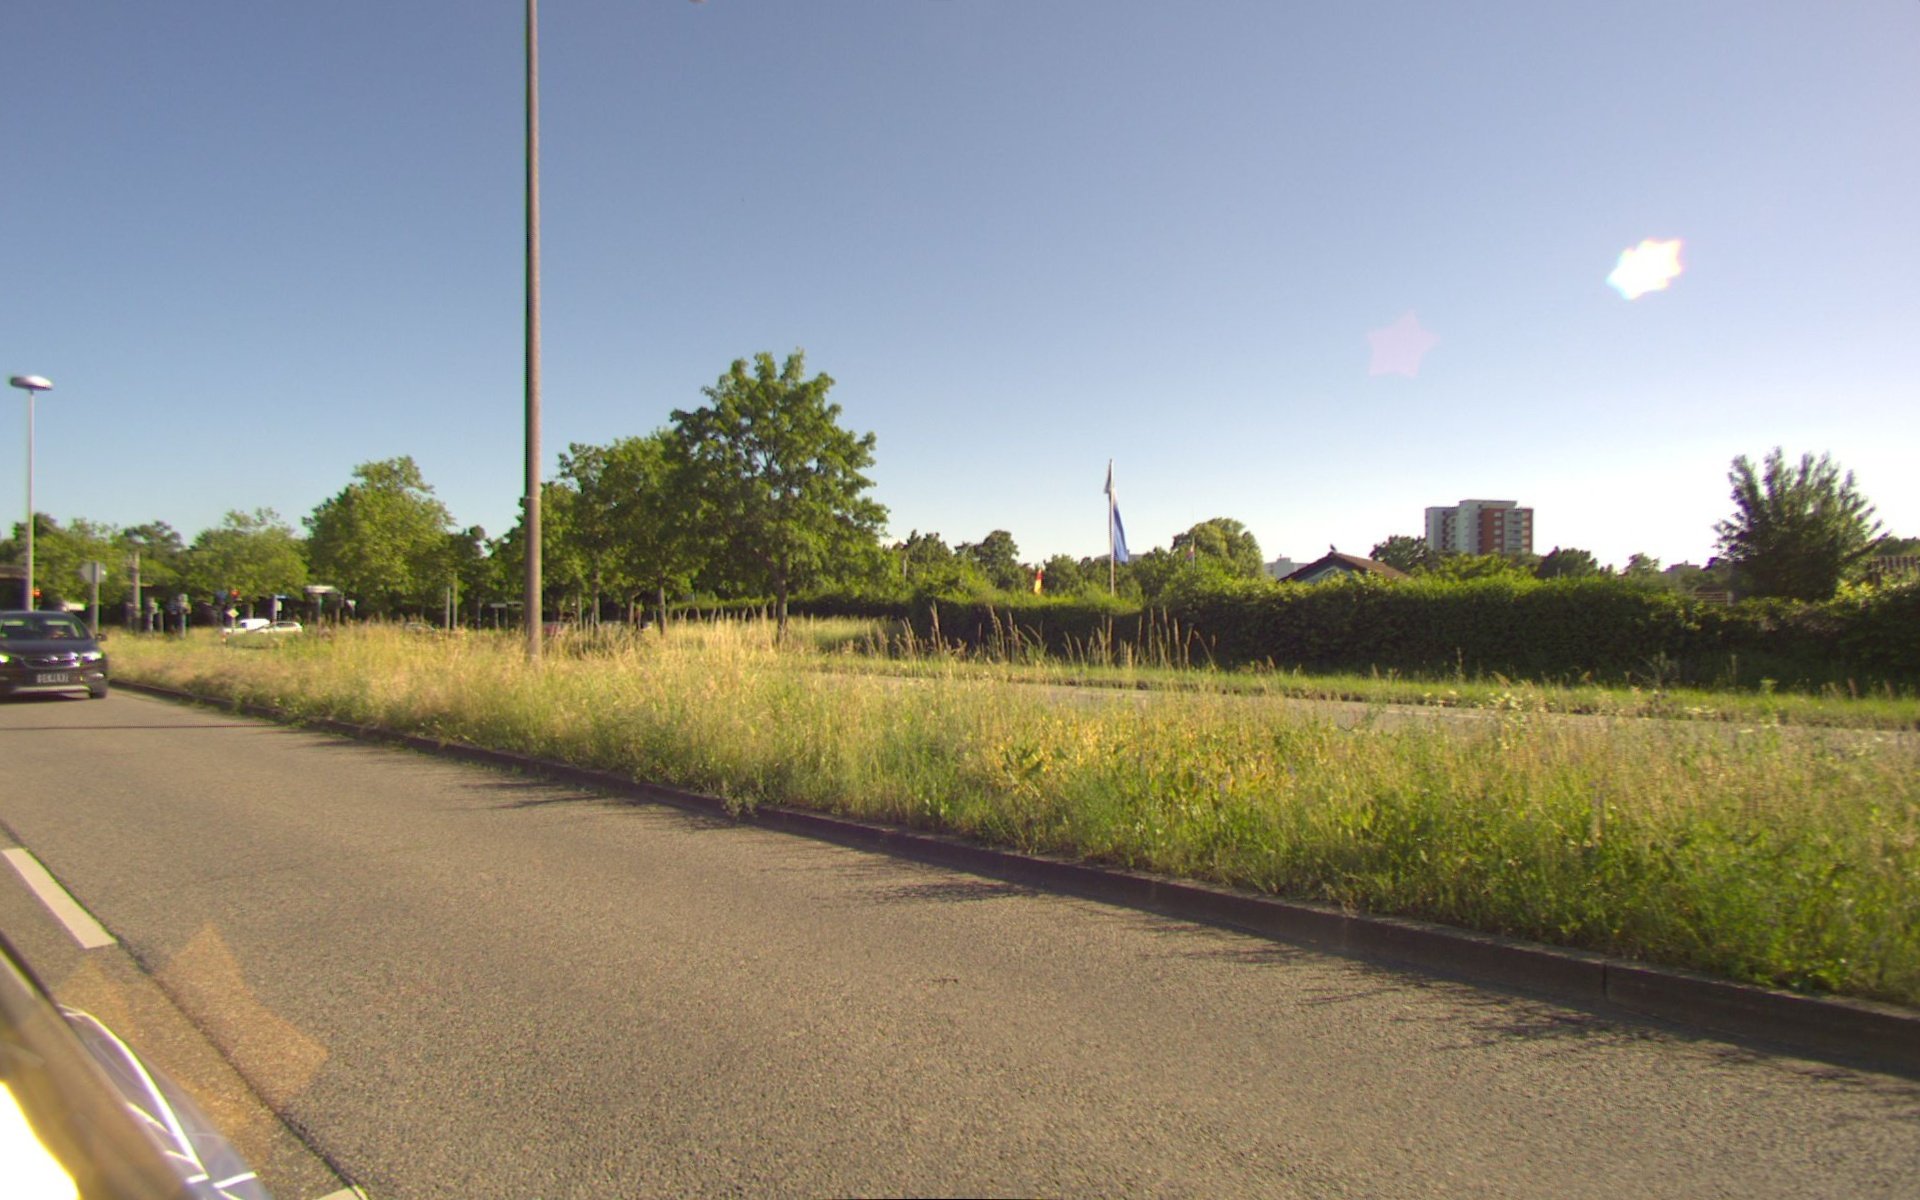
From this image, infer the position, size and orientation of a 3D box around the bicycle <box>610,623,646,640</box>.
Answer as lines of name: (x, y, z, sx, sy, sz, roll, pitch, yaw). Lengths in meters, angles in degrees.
bicycle: (-14.292, 1.347, 43.555, 1.873, 0.700, 0.559, -2, -2, 40)

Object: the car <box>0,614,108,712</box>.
car: (-17.465, 1.134, 18.949, 3.854, 1.675, 1.692, -2, -3, 41)

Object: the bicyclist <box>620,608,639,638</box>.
bicyclist: (-14.235, 0.984, 43.552, 0.575, 1.266, 0.577, -2, -2, 39)

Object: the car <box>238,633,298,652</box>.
car: (-59.679, 3.639, 87.331, 1.846, 1.572, 3.883, -1, -2, 32)

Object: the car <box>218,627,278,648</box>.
car: (-62.727, 3.292, 89.215, 1.772, 1.768, 3.956, -1, -2, 32)
